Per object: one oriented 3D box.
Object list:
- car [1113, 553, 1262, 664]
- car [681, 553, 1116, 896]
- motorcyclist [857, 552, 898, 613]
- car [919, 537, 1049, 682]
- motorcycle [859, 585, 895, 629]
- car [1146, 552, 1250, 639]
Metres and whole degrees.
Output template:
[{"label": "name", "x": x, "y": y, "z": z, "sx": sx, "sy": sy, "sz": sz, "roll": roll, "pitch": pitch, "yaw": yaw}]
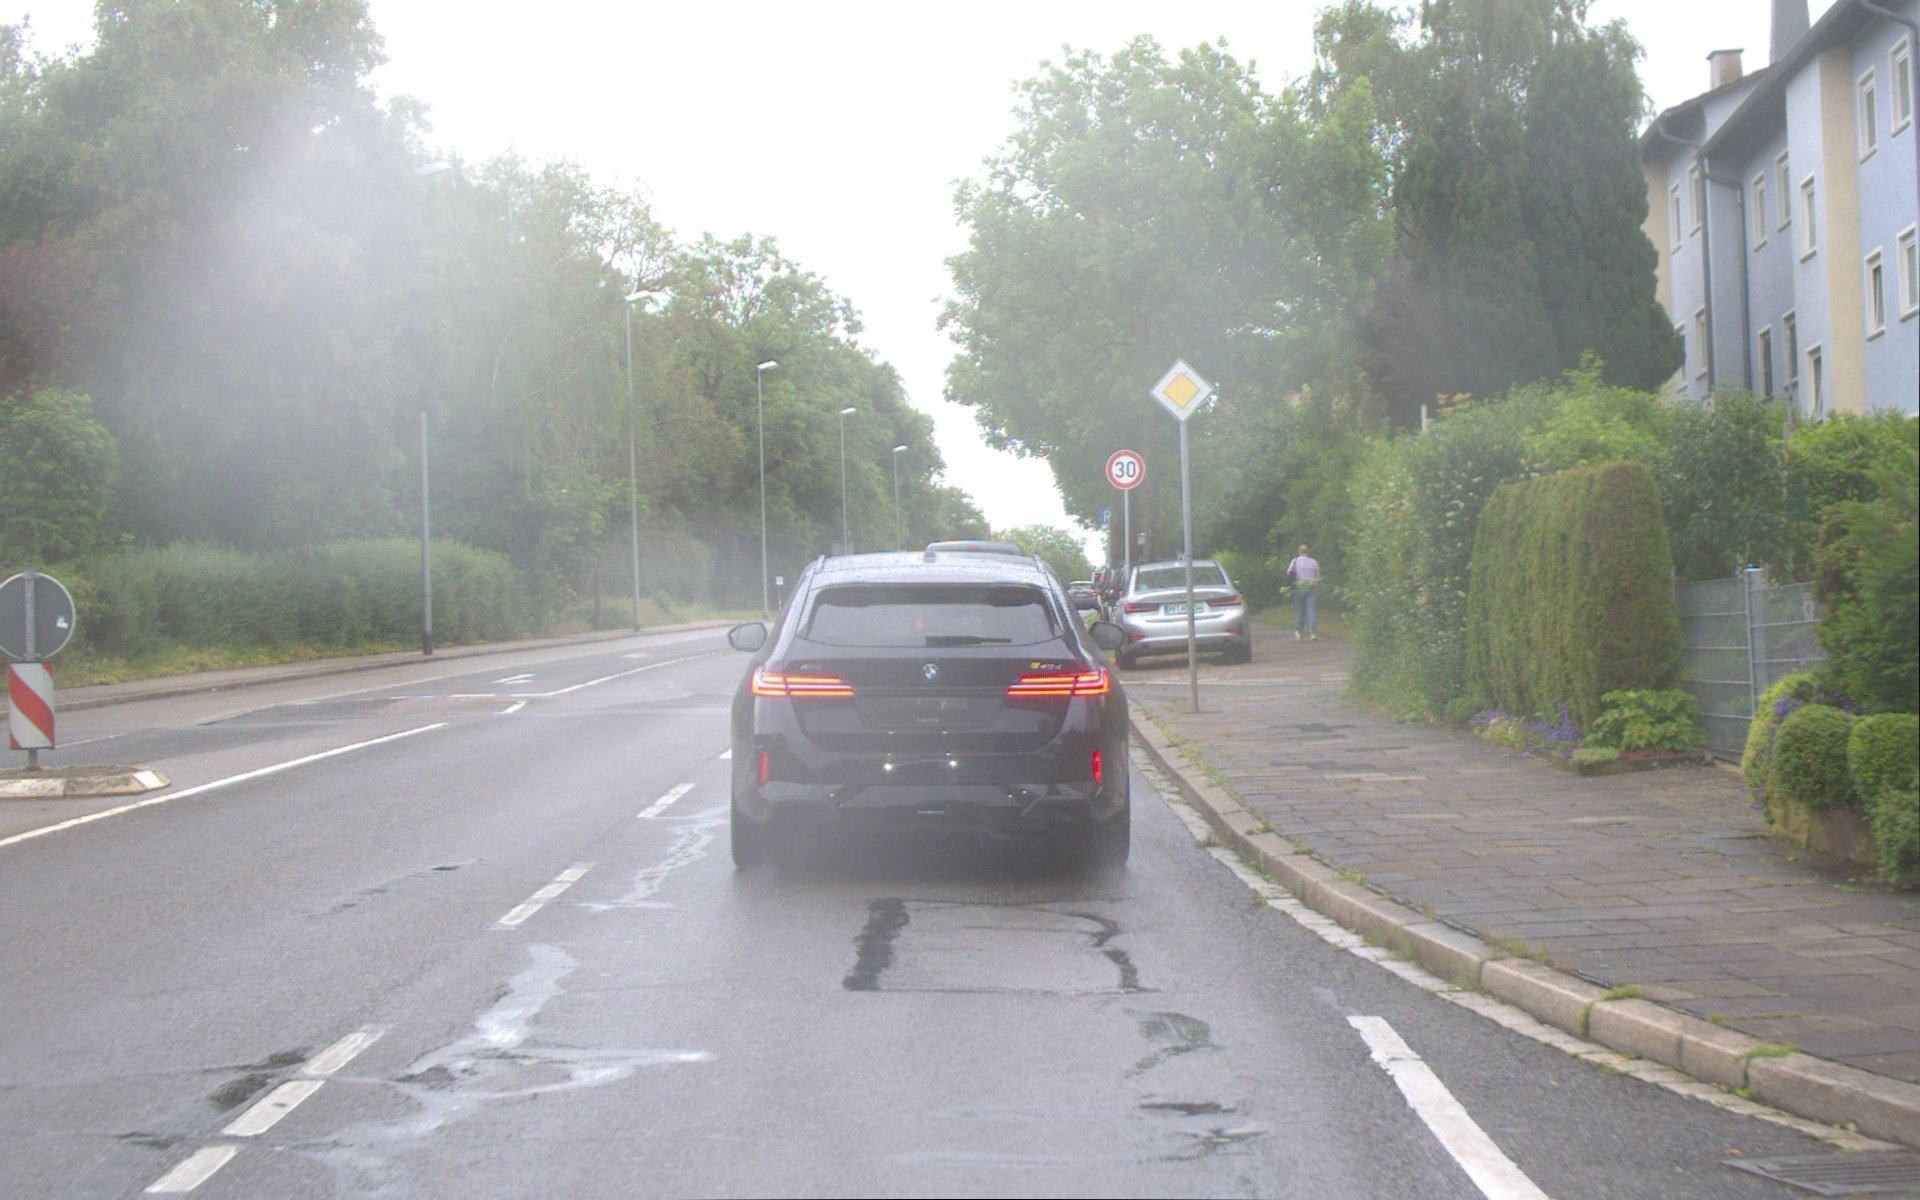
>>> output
[{"label": "car", "x": 3.140, "y": 0.085, "z": 48.177, "sx": 1.935, "sy": 1.437, "sz": 4.408, "roll": -2, "pitch": 1, "yaw": 2}, {"label": "car", "x": -0.245, "y": 0.525, "z": 17.155, "sx": 1.897, "sy": 1.484, "sz": 4.000, "roll": 1, "pitch": 1, "yaw": 1}, {"label": "motorcyclist", "x": -2.158, "y": -0.458, "z": 89.912, "sx": 1.039, "sy": 1.562, "sz": 0.855, "roll": 1, "pitch": 0, "yaw": 0}, {"label": "car", "x": 0.302, "y": 0.085, "z": 46.511, "sx": 1.629, "sy": 1.827, "sz": 4.000, "roll": -2, "pitch": 1, "yaw": 0}, {"label": "motorcycle", "x": -2.164, "y": 0.166, "z": 89.955, "sx": 0.876, "sy": 1.120, "sz": 2.741, "roll": 1, "pitch": 0, "yaw": 0}, {"label": "car", "x": 4.186, "y": -0.096, "z": 60.920, "sx": 1.589, "sy": 1.456, "sz": 3.562, "roll": -2, "pitch": 1, "yaw": 1}]
